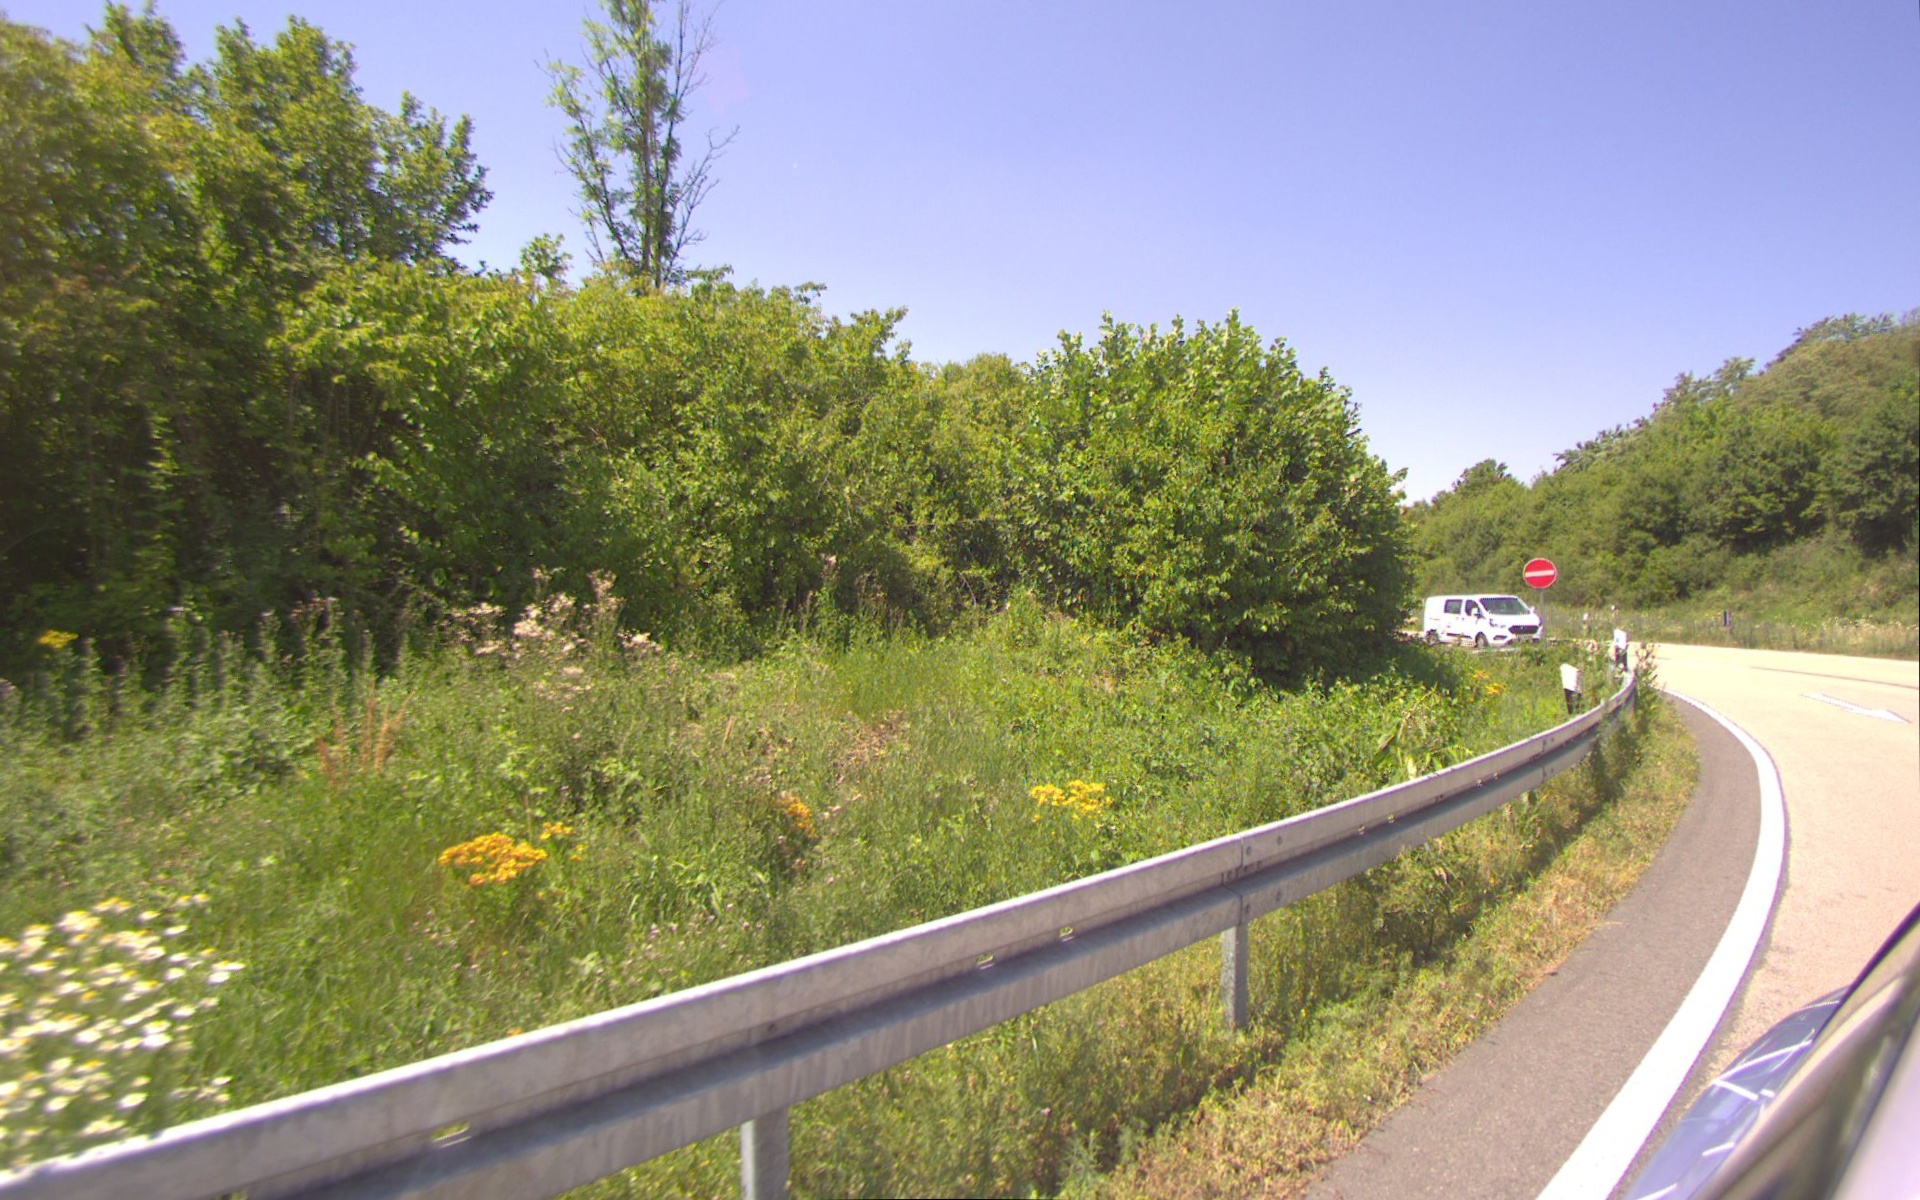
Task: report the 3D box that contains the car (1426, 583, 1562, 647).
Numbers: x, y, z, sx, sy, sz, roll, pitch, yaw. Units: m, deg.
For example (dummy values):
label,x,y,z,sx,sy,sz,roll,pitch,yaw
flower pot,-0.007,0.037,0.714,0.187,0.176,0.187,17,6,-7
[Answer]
label,x,y,z,sx,sy,sz,roll,pitch,yaw
car,18.887,0.494,36.108,2.024,2.039,5.042,-2,0,-1
